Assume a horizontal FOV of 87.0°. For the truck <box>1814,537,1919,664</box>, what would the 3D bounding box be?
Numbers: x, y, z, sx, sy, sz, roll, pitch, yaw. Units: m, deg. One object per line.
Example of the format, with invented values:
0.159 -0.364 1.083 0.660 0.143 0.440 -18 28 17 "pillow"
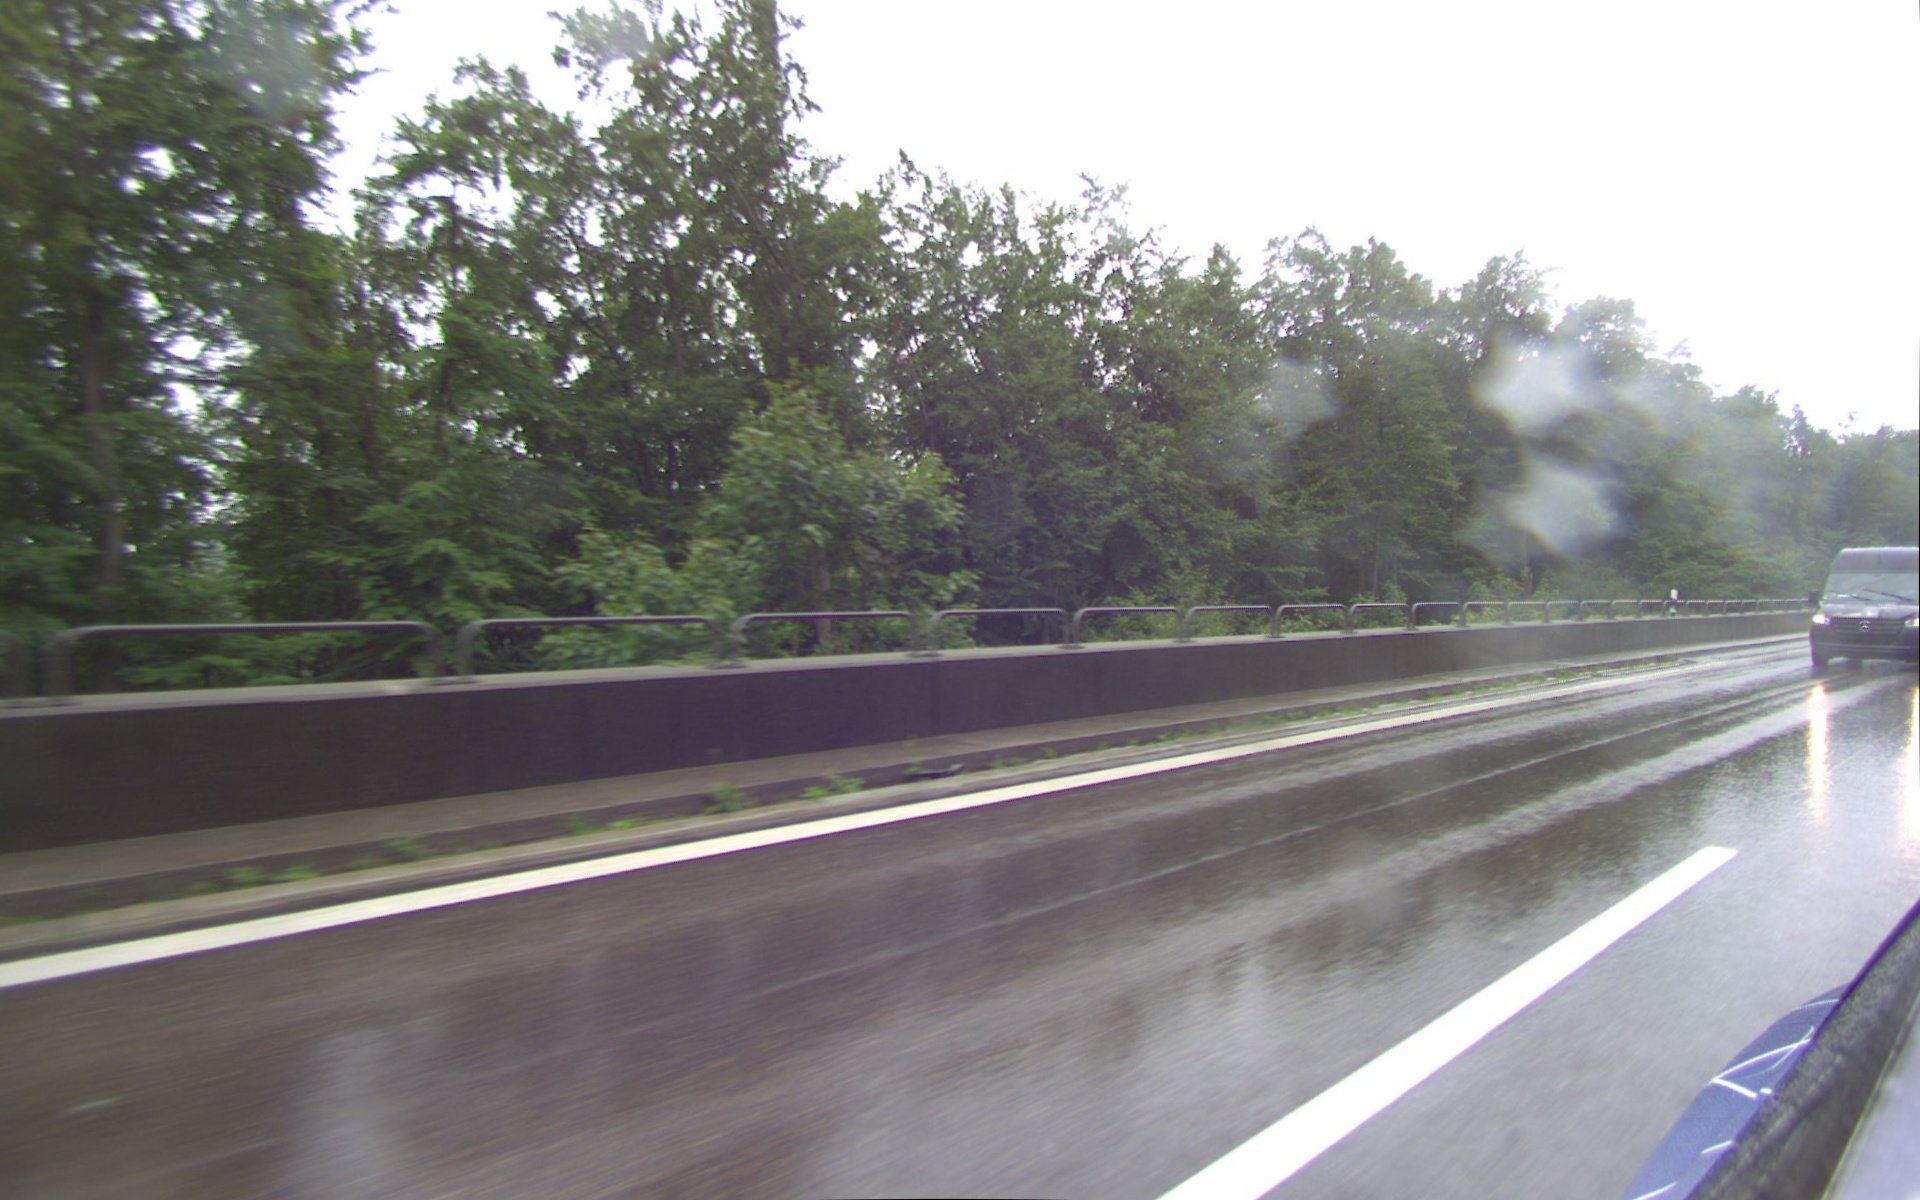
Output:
21.668 -0.019 23.061 7.861 2.527 2.107 0 1 -41 "truck"
